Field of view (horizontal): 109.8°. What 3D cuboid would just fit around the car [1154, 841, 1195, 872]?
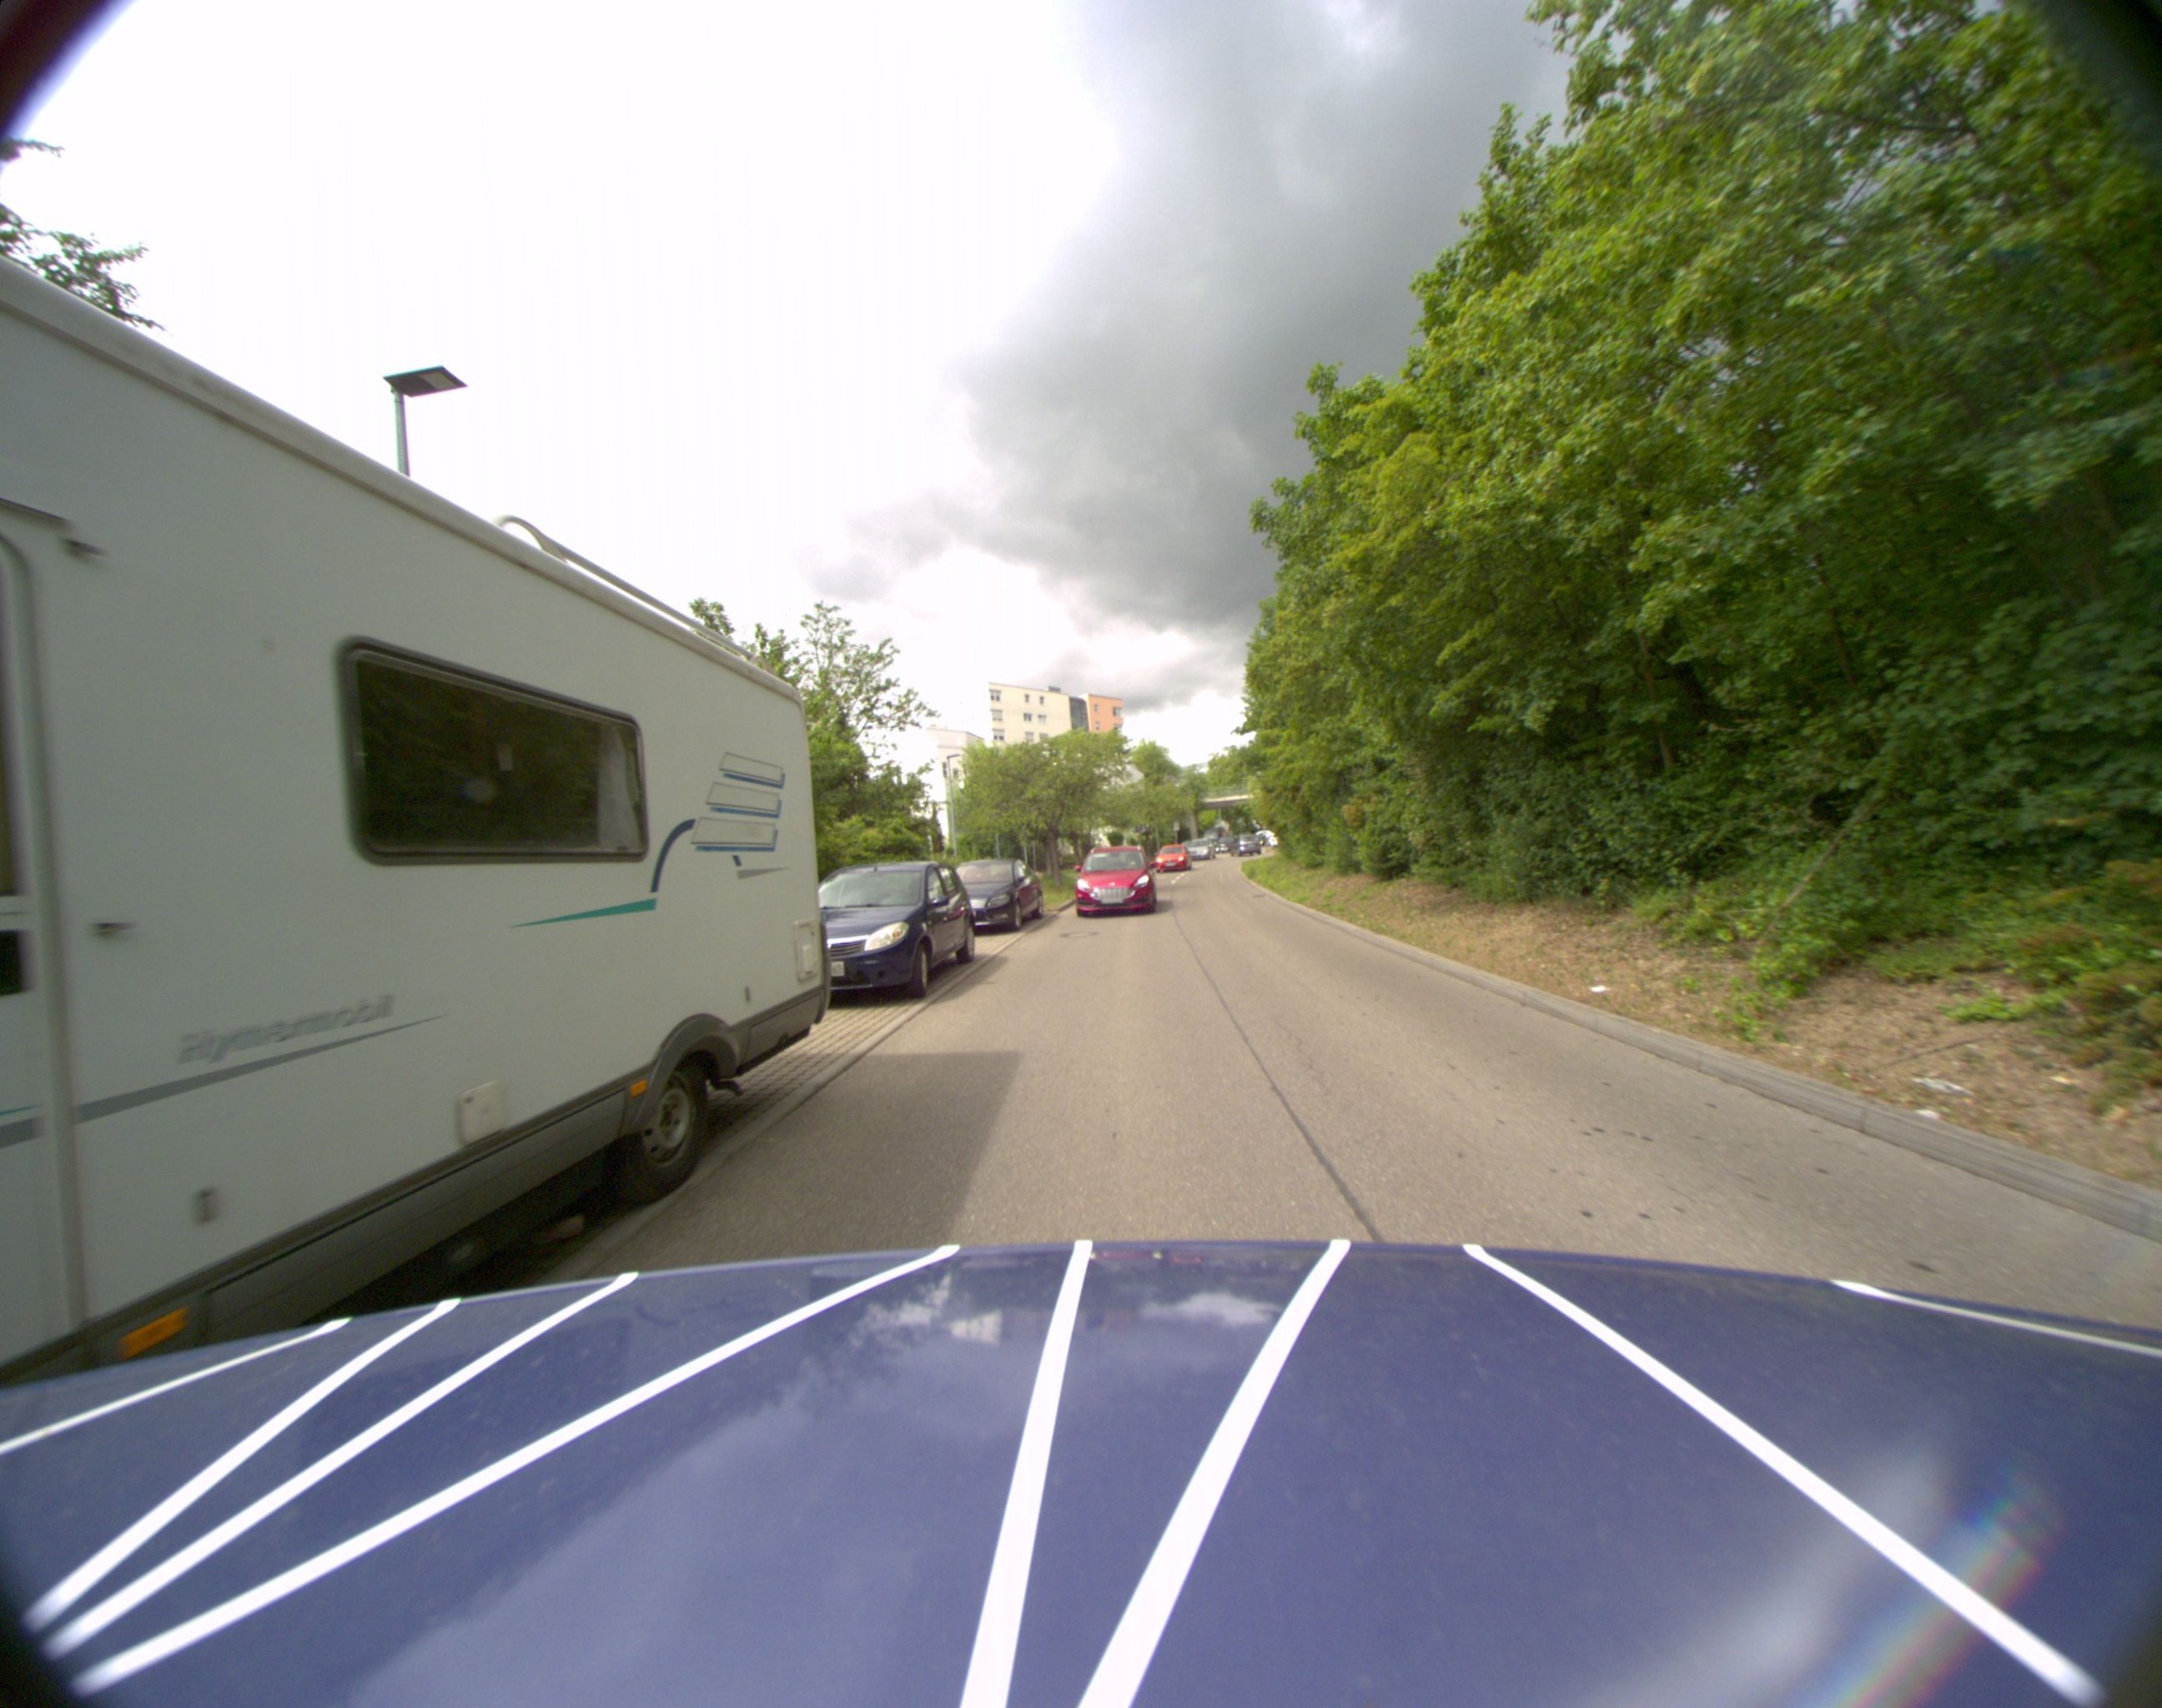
[{"bbox_3d":[5.129,0.104,42.133,1.861,1.434,4.000,-5,1,4],"label":"car"}]

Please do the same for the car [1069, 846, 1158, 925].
[{"bbox_3d":[0.886,0.689,18.504,1.812,1.600,3.723,-3,1,7],"label":"car"}]

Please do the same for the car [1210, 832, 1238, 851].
[{"bbox_3d":[13.382,-1.180,70.895,1.778,1.413,4.002,-2,6,22],"label":"car"}]

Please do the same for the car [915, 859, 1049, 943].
[{"bbox_3d":[-1.968,0.908,16.482,1.779,1.426,4.335,-3,0,7],"label":"car"}]

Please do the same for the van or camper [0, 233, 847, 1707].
[{"bbox_3d":[-3.042,0.348,2.252,2.338,2.852,6.151,-5,0,2],"label":"van or camper"}]

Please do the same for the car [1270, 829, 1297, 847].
[{"bbox_3d":[18.477,-1.443,69.248,1.810,1.397,4.052,-4,2,22],"label":"car"}]

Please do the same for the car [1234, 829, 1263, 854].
[{"bbox_3d":[13.013,-0.957,59.198,1.756,1.652,4.122,-8,0,8],"label":"car"}]

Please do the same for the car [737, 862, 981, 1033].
[{"bbox_3d":[-2.507,0.977,9.658,1.733,1.510,3.888,-3,1,2],"label":"car"}]

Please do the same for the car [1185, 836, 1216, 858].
[{"bbox_3d":[9.186,-0.551,58.274,1.778,1.444,4.003,-4,1,16],"label":"car"}]
